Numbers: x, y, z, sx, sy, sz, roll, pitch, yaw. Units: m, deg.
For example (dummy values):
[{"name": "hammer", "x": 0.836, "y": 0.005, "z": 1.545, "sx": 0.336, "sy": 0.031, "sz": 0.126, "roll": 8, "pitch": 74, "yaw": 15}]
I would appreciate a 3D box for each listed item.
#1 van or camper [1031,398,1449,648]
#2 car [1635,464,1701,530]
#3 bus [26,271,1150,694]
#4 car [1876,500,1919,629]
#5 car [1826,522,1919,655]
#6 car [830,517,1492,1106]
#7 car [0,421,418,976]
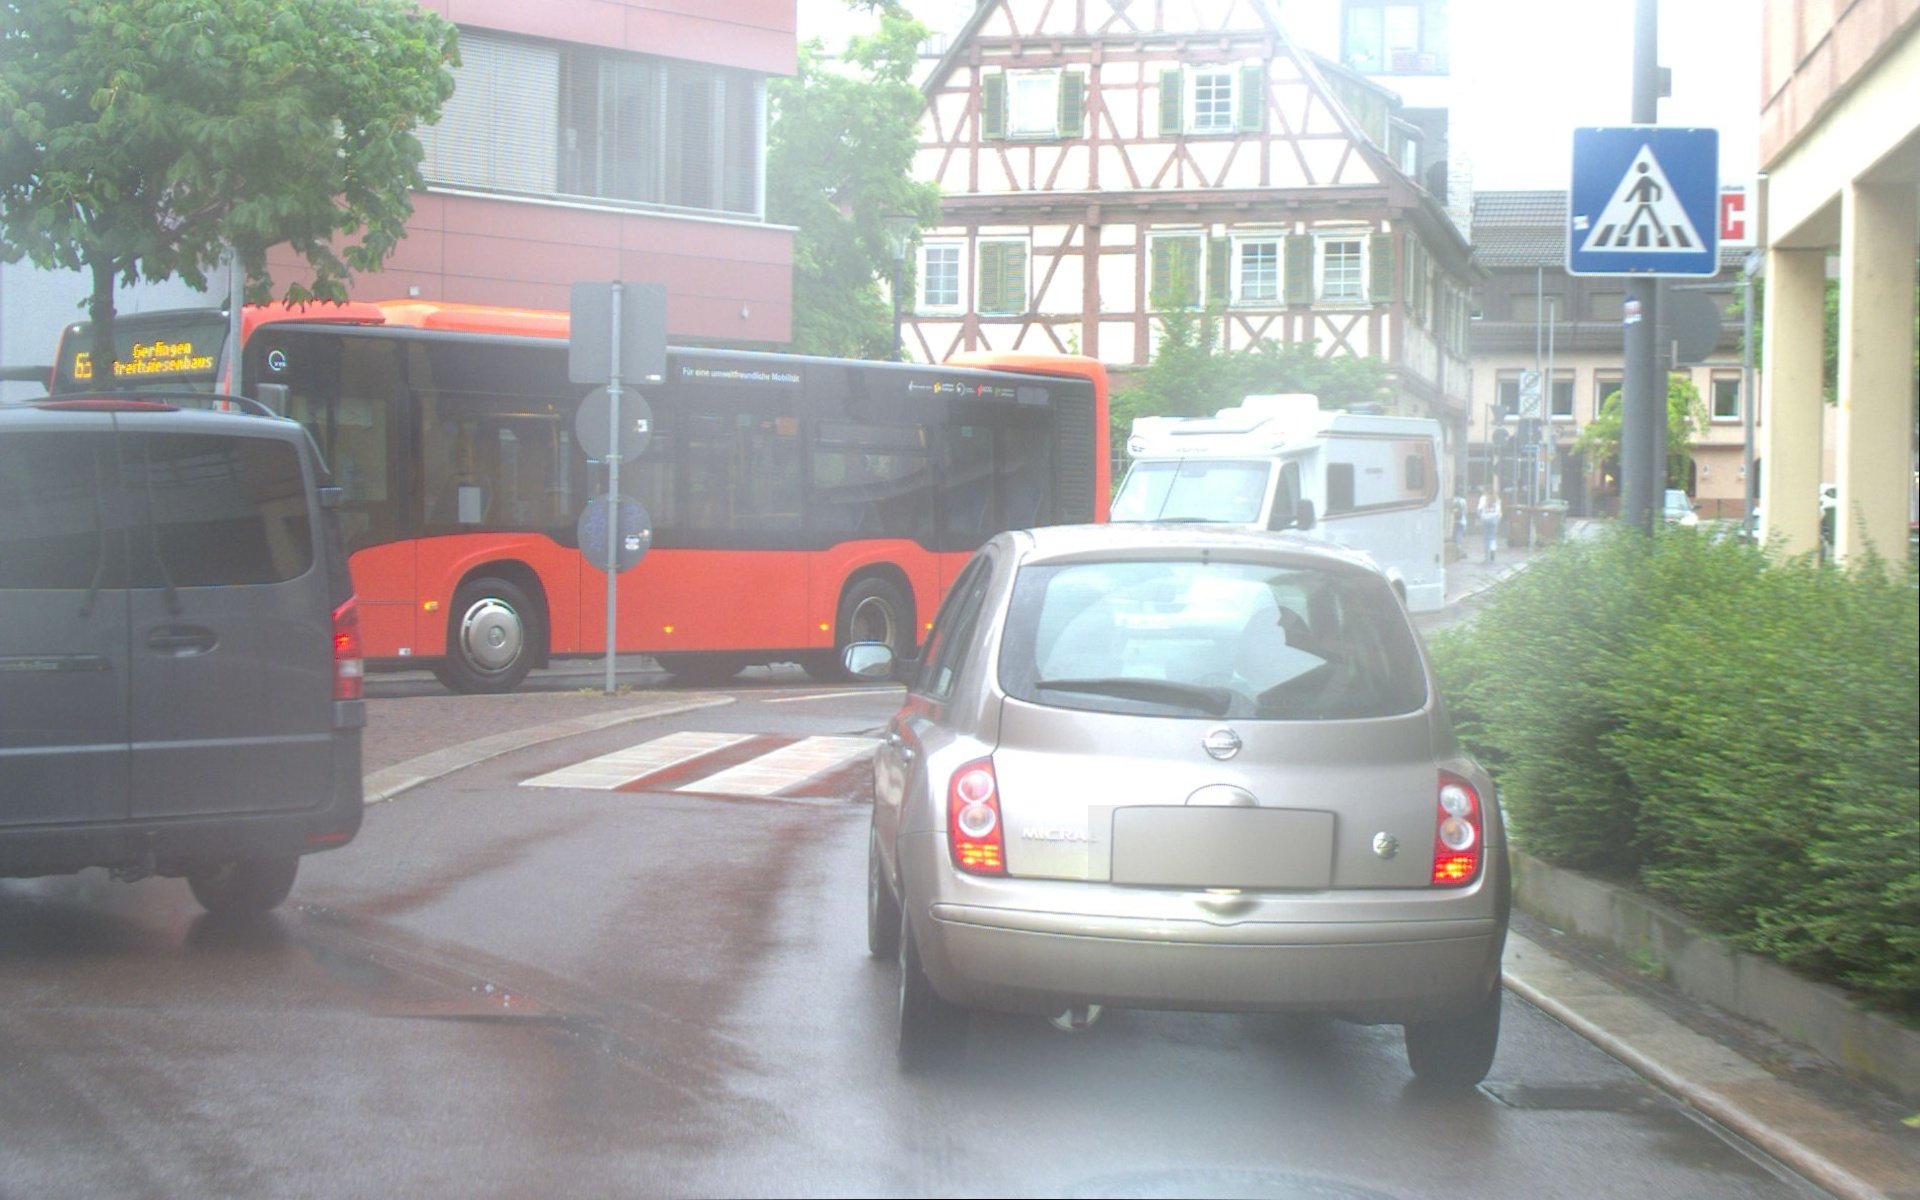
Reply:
[{"name": "van or camper", "x": 3.341, "y": -0.868, "z": 39.229, "sx": 2.441, "sy": 2.576, "sz": 6.742, "roll": 2, "pitch": 2, "yaw": 26}, {"name": "car", "x": 18.984, "y": -2.755, "z": 92.130, "sx": 1.587, "sy": 1.706, "sz": 3.319, "roll": 2, "pitch": 2, "yaw": 14}, {"name": "bus", "x": -2.745, "y": -0.932, "z": 29.907, "sx": 2.819, "sy": 3.078, "sz": 10.582, "roll": 1, "pitch": 1, "yaw": 41}, {"name": "car", "x": 12.120, "y": -0.482, "z": 42.010, "sx": 1.625, "sy": 1.495, "sz": 3.998, "roll": -2, "pitch": 1, "yaw": 13}, {"name": "car", "x": 10.392, "y": -0.149, "z": 37.304, "sx": 1.538, "sy": 1.357, "sz": 3.370, "roll": 2, "pitch": 2, "yaw": 20}, {"name": "car", "x": 0.455, "y": 0.504, "z": 10.429, "sx": 1.522, "sy": 1.465, "sz": 3.342, "roll": 0, "pitch": 2, "yaw": -5}, {"name": "car", "x": -4.046, "y": 0.217, "z": 13.168, "sx": 1.947, "sy": 1.774, "sz": 4.726, "roll": 0, "pitch": 2, "yaw": -36}]
